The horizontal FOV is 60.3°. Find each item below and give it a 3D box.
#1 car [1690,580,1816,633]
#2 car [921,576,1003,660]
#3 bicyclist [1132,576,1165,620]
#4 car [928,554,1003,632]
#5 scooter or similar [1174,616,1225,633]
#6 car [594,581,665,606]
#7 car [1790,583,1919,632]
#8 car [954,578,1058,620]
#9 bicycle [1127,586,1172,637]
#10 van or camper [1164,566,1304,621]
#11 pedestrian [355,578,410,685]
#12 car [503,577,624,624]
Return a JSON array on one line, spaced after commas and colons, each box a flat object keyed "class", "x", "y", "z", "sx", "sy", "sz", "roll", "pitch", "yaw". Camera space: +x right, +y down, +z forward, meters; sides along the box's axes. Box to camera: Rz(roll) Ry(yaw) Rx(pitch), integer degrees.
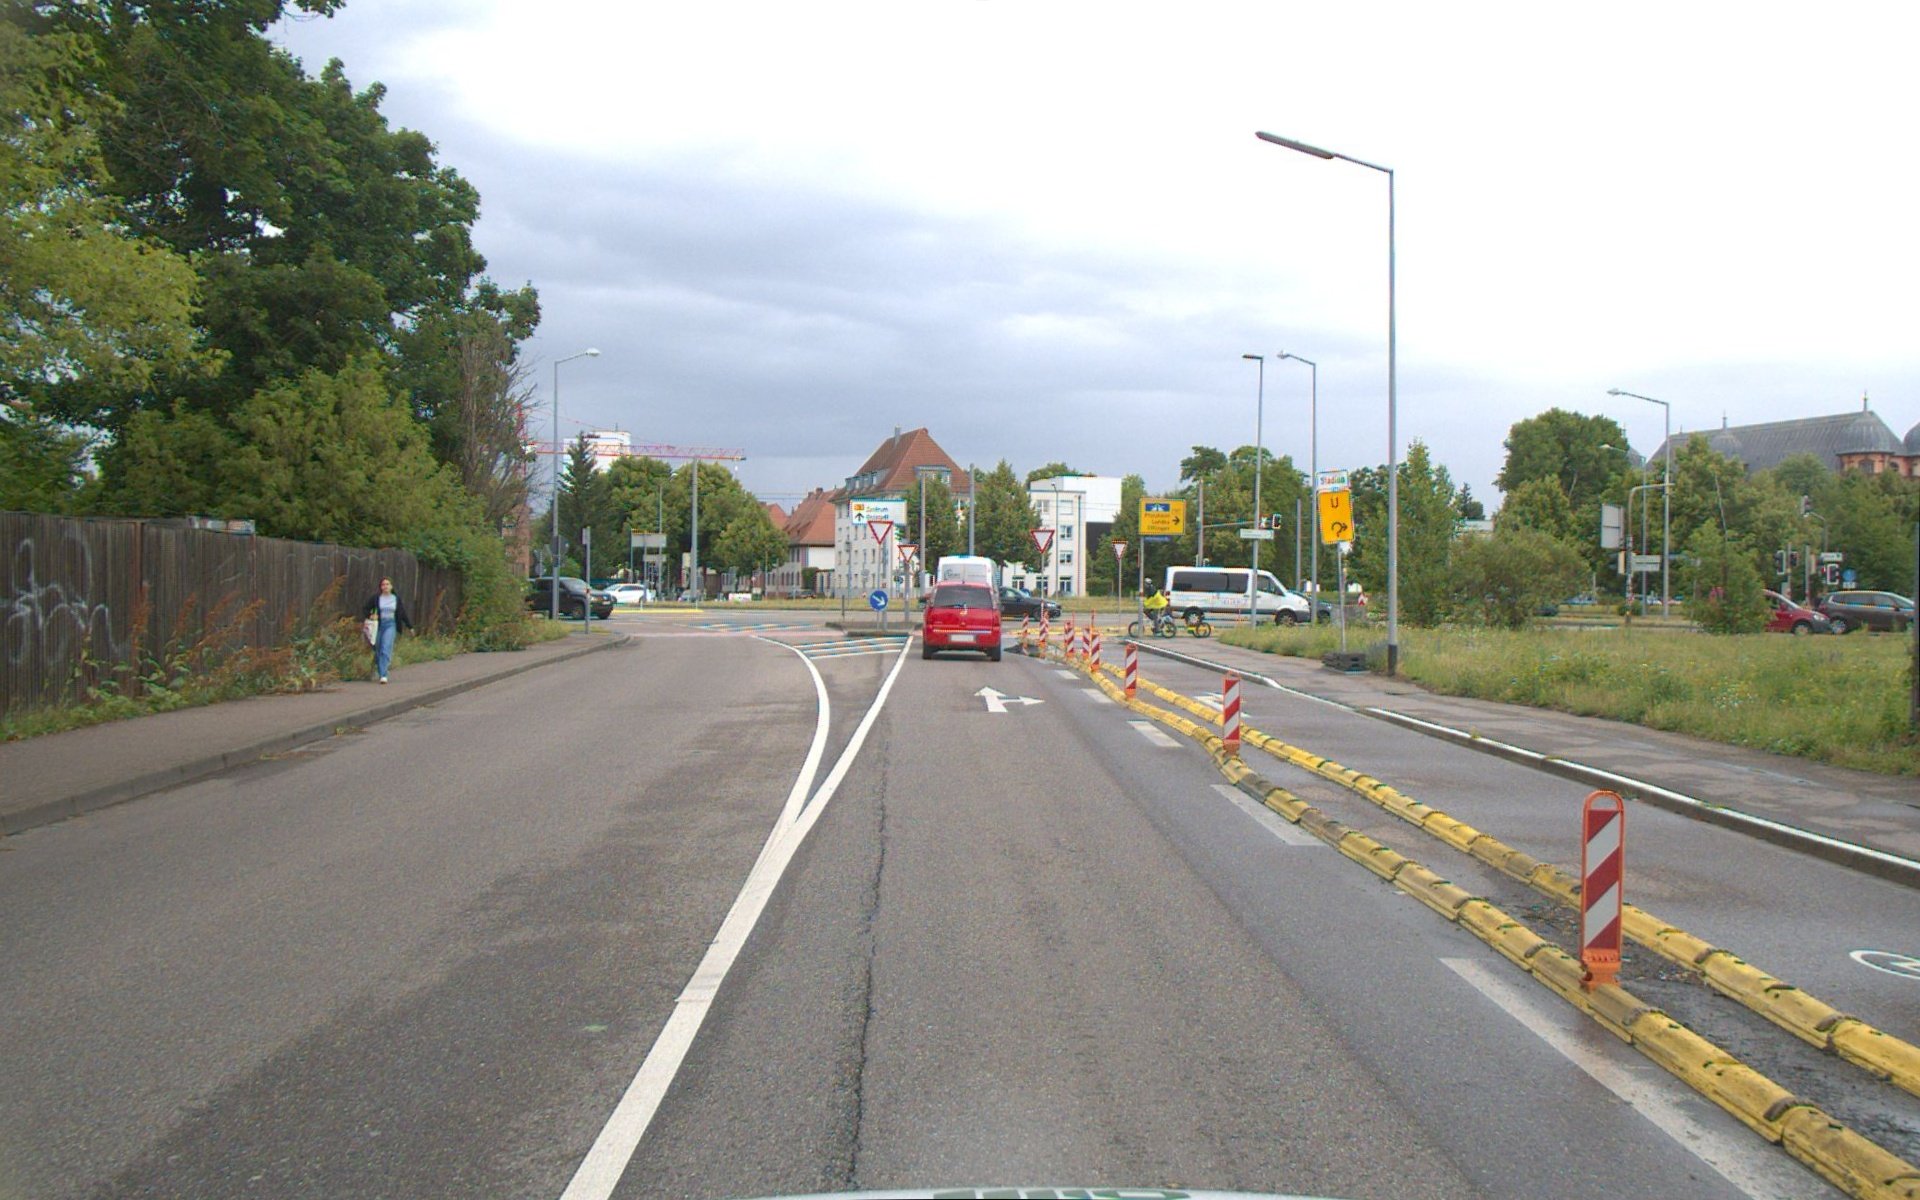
[{"class": "car", "x": 29.990, "y": 0.219, "z": 62.566, "sx": 4.118, "sy": 1.951, "sz": 2.111, "roll": 0, "pitch": 0, "yaw": 32}, {"class": "car", "x": 0.031, "y": 0.351, "z": 35.422, "sx": 1.639, "sy": 1.669, "sz": 3.627, "roll": 1, "pitch": 0, "yaw": -1}, {"class": "bicyclist", "x": 6.170, "y": -0.070, "z": 54.111, "sx": 1.039, "sy": 1.426, "sz": 0.615, "roll": 0, "pitch": 0, "yaw": 2}, {"class": "car", "x": 0.253, "y": -0.254, "z": 58.787, "sx": 2.149, "sy": 2.584, "sz": 4.965, "roll": 1, "pitch": 0, "yaw": 5}, {"class": "scooter or similar", "x": 7.809, "y": 0.803, "z": 54.019, "sx": 1.574, "sy": 0.513, "sz": 0.925, "roll": 0, "pitch": 0, "yaw": 2}, {"class": "car", "x": -22.140, "y": -0.441, "z": 110.859, "sx": 1.959, "sy": 1.663, "sz": 4.659, "roll": 0, "pitch": 0, "yaw": 35}, {"class": "car", "x": 34.814, "y": 0.277, "z": 63.929, "sx": 4.524, "sy": 1.827, "sz": 2.104, "roll": 0, "pitch": 0, "yaw": 41}, {"class": "car", "x": 1.997, "y": -0.039, "z": 71.260, "sx": 4.267, "sy": 1.780, "sz": 2.002, "roll": 0, "pitch": 0, "yaw": 9}, {"class": "bicycle", "x": 6.197, "y": 0.367, "z": 54.117, "sx": 1.446, "sy": 1.640, "sz": 0.606, "roll": 0, "pitch": 0, "yaw": 2}, {"class": "van or camper", "x": 10.843, "y": -0.261, "z": 65.698, "sx": 5.416, "sy": 2.152, "sz": 2.002, "roll": 0, "pitch": 0, "yaw": 7}, {"class": "pedestrian", "x": -8.506, "y": 0.451, "z": 24.363, "sx": 0.600, "sy": 1.556, "sz": 0.723, "roll": 0, "pitch": 0, "yaw": -5}, {"class": "car", "x": -17.545, "y": 0.005, "z": 73.206, "sx": 4.924, "sy": 2.006, "sz": 2.223, "roll": 0, "pitch": 0, "yaw": 24}]
